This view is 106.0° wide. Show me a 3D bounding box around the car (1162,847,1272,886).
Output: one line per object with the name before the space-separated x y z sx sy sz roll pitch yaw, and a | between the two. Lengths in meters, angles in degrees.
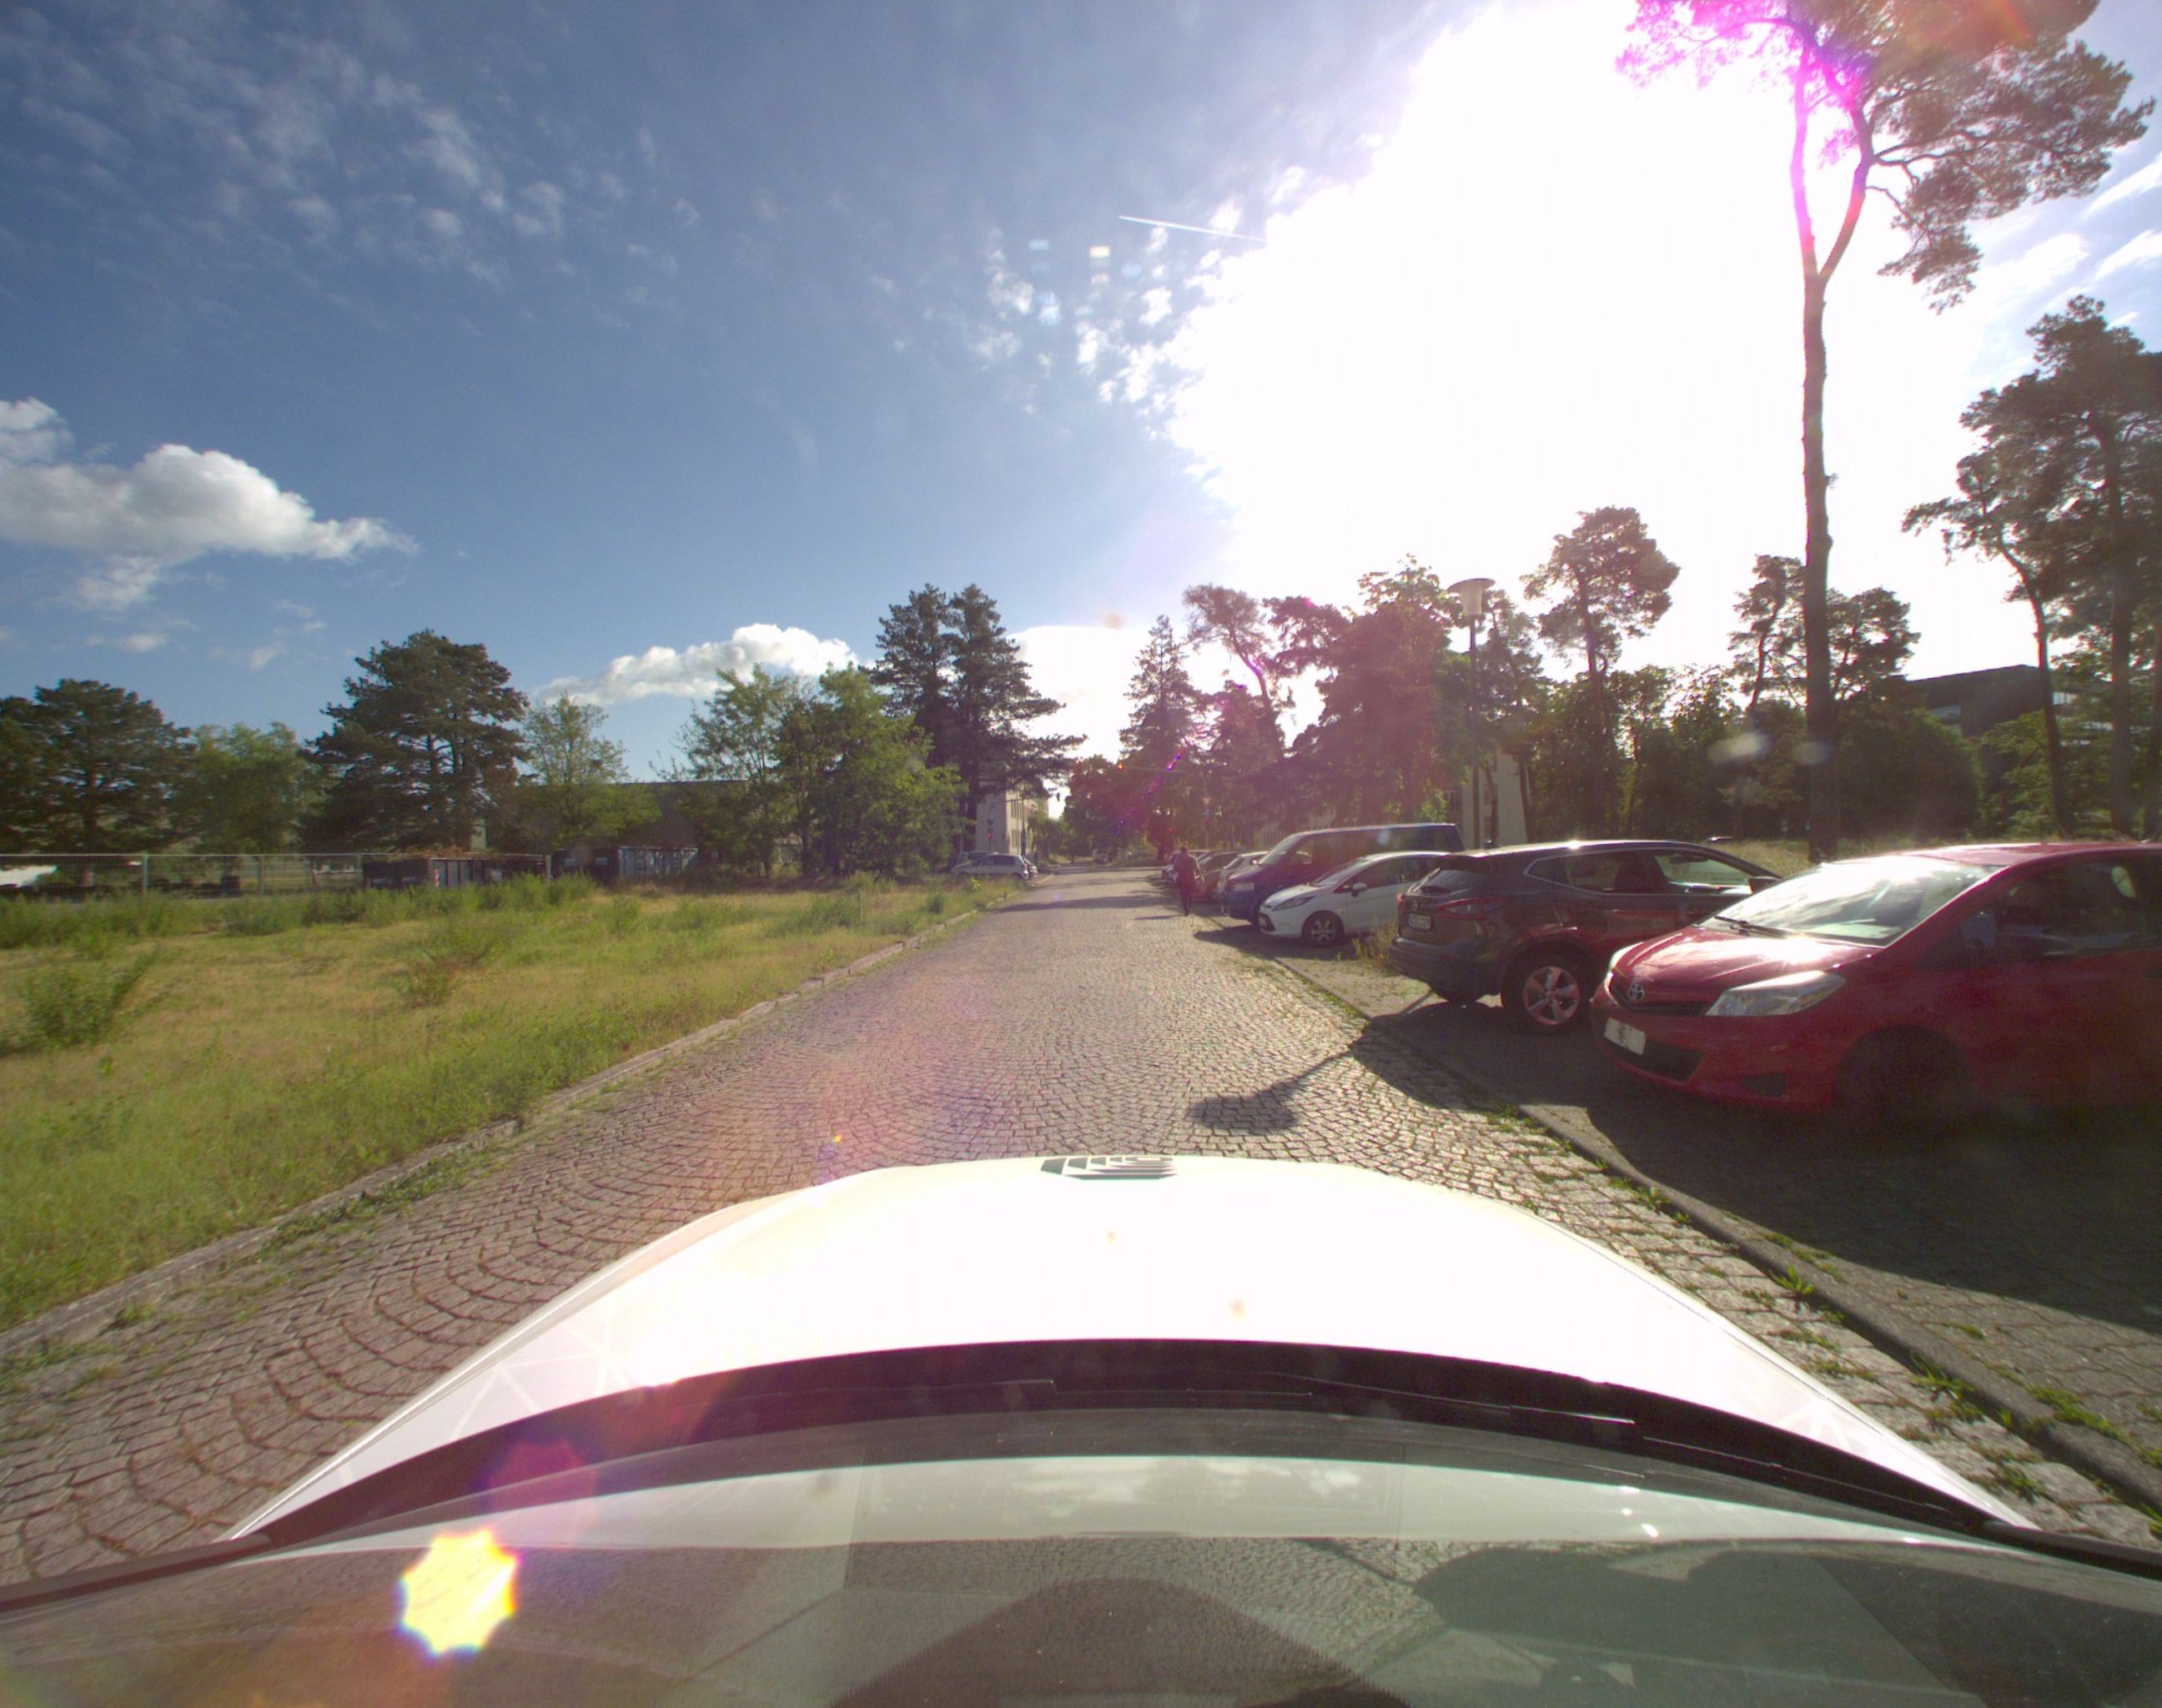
car | 5.758 0.522 34.938 4.385 1.388 1.789 -3 0 0

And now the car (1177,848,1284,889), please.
car | 5.904 0.559 32.516 3.965 1.448 1.656 -2 0 0

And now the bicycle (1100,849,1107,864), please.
bicycle | 2.347 0.247 85.687 0.750 1.580 2.537 -1 0 1

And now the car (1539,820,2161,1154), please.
car | 5.126 0.632 4.841 3.811 1.538 1.704 -2 0 1

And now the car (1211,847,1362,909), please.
car | 5.409 0.609 21.732 3.631 1.492 1.635 -2 0 1

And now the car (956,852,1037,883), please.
car | -4.337 0.673 42.115 3.924 1.445 1.691 2 0 0

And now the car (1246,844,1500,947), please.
car | 4.856 0.659 13.867 3.709 1.467 1.609 -3 0 -1

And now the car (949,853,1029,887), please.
car | -4.419 0.751 39.449 3.675 1.527 1.698 1 0 -1

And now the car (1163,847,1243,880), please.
car | 5.981 0.457 40.117 3.660 1.443 1.666 -3 0 1

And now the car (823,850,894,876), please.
car | -14.981 0.617 54.943 4.127 1.608 2.011 -2 0 2

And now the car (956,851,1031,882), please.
car | -4.744 0.653 44.656 3.867 1.615 1.660 1 0 0

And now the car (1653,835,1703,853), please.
car | 59.768 -0.984 81.540 3.620 1.671 1.769 -2 0 3

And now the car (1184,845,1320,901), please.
car | 5.094 0.561 24.671 3.765 1.450 1.759 -3 0 3

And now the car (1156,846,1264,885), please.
car | 5.903 0.515 37.579 4.606 1.455 1.869 -4 0 -1

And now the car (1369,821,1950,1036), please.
car | 5.030 0.601 7.522 4.094 1.611 1.786 -2 0 -1

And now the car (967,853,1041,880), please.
car | -4.447 0.722 47.508 3.967 1.496 1.776 1 0 6

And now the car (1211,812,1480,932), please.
car | 5.179 0.343 16.490 4.736 2.013 2.001 -3 0 1

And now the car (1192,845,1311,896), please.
car | 5.709 0.533 27.539 3.650 1.455 1.667 -3 0 1

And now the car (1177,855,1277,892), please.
car | 5.341 0.703 30.135 3.447 1.242 1.537 -1 0 1

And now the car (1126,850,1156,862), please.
car | 8.169 0.259 110.875 3.739 1.580 1.738 -1 0 -6

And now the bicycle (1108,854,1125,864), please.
bicycle | 3.865 0.552 89.122 1.829 1.112 0.495 -2 0 -3

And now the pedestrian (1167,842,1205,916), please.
pedestrian | 2.582 0.598 20.036 0.750 1.725 0.829 3 0 1

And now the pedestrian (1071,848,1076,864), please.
pedestrian | -0.987 0.306 104.889 0.592 2.013 0.573 -1 0 1

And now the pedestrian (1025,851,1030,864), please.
pedestrian | -6.795 0.428 103.179 0.606 1.559 0.544 -1 0 -5

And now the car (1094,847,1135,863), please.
car | 4.345 0.113 107.143 5.064 1.918 1.994 -2 0 -8

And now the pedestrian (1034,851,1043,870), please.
pedestrian | -3.940 0.620 75.228 0.608 1.752 0.626 -1 0 -19

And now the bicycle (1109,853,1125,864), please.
bicycle | 3.982 0.513 90.310 1.723 1.164 0.560 -2 0 -2
